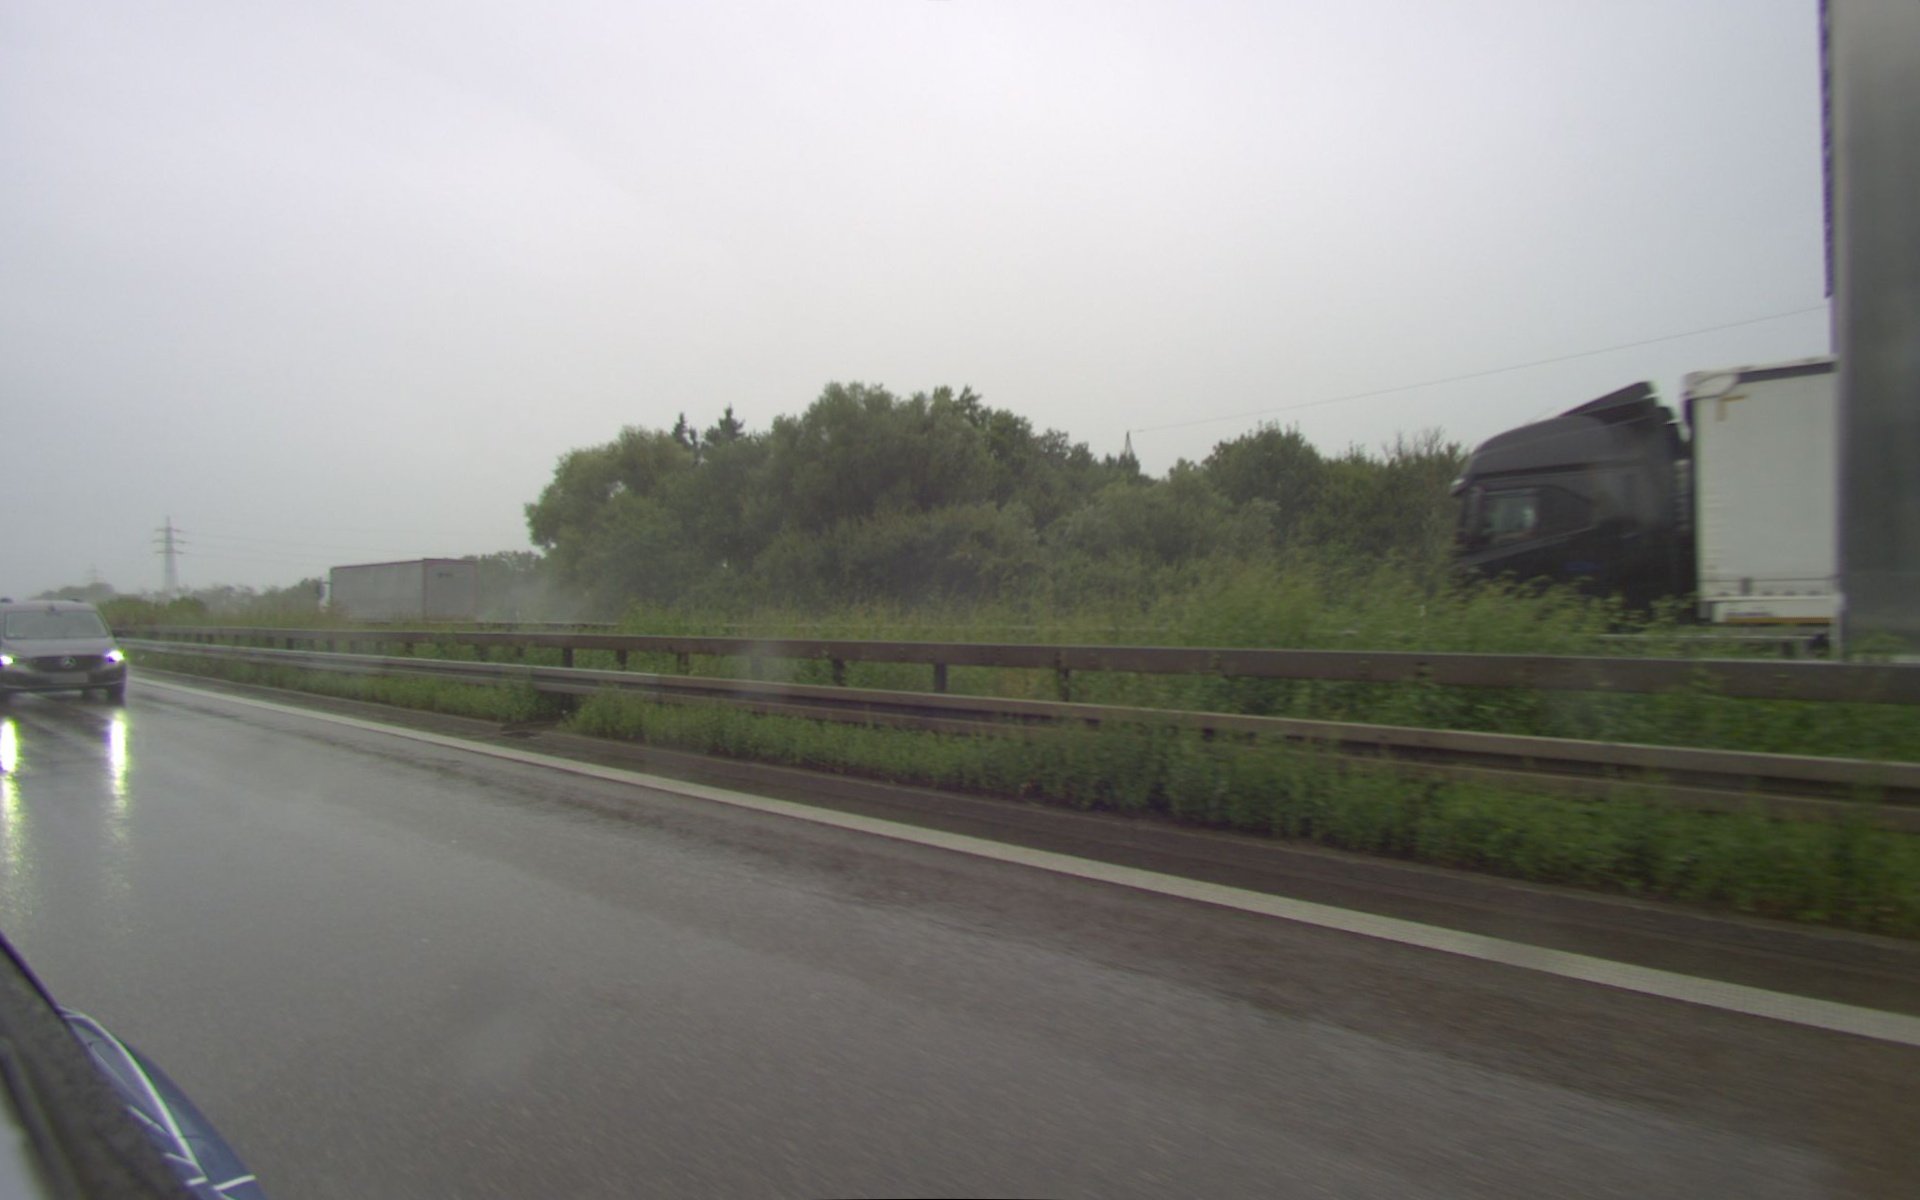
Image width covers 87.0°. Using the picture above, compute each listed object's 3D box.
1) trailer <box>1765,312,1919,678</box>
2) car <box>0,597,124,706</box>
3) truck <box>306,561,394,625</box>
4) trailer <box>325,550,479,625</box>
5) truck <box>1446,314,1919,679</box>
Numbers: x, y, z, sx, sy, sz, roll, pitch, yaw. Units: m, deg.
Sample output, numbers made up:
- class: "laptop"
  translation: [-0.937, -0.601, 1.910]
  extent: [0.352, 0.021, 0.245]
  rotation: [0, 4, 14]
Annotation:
- class: "trailer"
  translation: [14.903, -1.267, 7.414]
  extent: [13.924, 3.749, 2.308]
  rotation: [-2, 2, 42]
- class: "car"
  translation: [-16.931, 0.885, 18.670]
  extent: [2.018, 1.787, 4.504]
  rotation: [0, -1, -44]
- class: "truck"
  translation: [-35.102, -0.374, 58.174]
  extent: [5.525, 3.442, 2.639]
  rotation: [-2, 1, 41]
- class: "trailer"
  translation: [-29.713, -0.526, 53.389]
  extent: [13.441, 3.433, 2.646]
  rotation: [-2, 1, 41]
- class: "truck"
  translation: [9.039, -1.082, 12.696]
  extent: [4.736, 3.736, 2.332]
  rotation: [-2, 2, 42]
